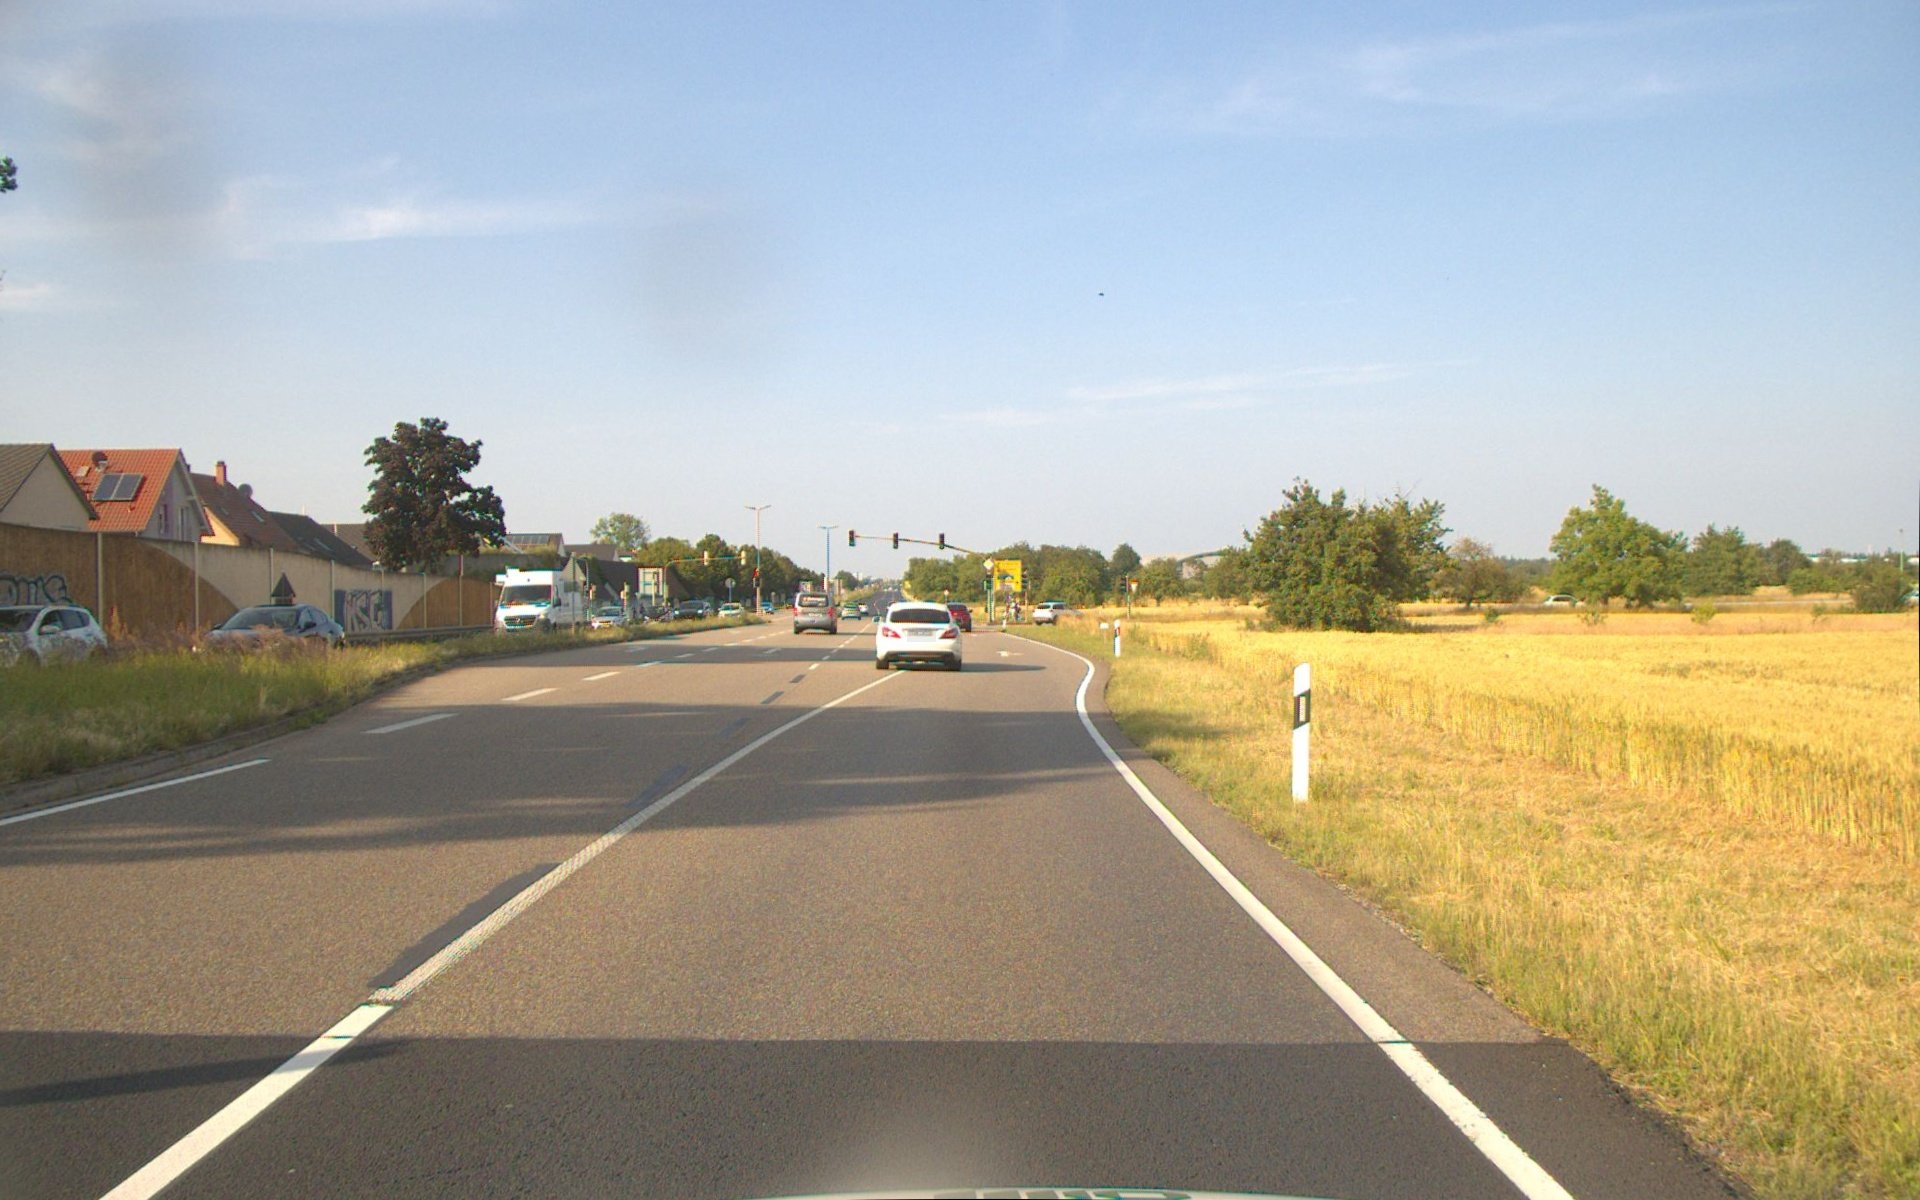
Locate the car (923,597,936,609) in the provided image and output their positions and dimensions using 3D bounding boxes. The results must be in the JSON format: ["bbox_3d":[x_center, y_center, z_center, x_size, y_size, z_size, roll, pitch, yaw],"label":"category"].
[{"bbox_3d":[-3.442,0.314,187.445,1.410,1.306,2.913,1,0,-2],"label":"car"}]

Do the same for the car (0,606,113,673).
[{"bbox_3d":[-17.499,0.692,30.394,1.635,1.124,4.411,1,0,-1],"label":"car"}]

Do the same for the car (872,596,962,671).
[{"bbox_3d":[-0.968,0.690,36.360,1.856,1.535,3.998,0,0,-2],"label":"car"}]

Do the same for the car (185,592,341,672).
[{"bbox_3d":[-13.692,0.598,32.687,1.615,1.467,3.567,1,0,-1],"label":"car"}]

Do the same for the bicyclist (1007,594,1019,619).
[{"bbox_3d":[3.886,0.476,121.149,0.831,1.786,0.798,1,0,-1],"label":"bicyclist"}]

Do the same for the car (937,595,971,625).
[{"bbox_3d":[-0.338,0.500,88.020,1.719,1.543,3.999,-1,0,-2],"label":"car"}]

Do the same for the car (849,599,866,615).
[{"bbox_3d":[-11.326,0.810,182.089,1.741,1.694,3.659,1,0,-6],"label":"car"}]

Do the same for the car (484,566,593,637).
[{"bbox_3d":[-14.868,0.037,58.794,2.301,2.343,7.187,1,0,-3],"label":"car"}]

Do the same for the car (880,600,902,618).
[{"bbox_3d":[-6.673,0.869,159.568,1.804,1.713,3.995,1,0,-6],"label":"car"}]

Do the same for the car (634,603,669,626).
[{"bbox_3d":[-20.996,1.005,112.777,1.676,1.482,3.999,1,0,-1],"label":"car"}]

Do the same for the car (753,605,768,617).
[{"bbox_3d":[-25.404,1.389,210.737,1.749,1.462,4.352,1,0,-5],"label":"car"}]

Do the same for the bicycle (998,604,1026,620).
[{"bbox_3d":[3.792,0.890,121.164,2.052,1.108,0.808,1,0,1],"label":"bicycle"}]

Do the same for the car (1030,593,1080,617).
[{"bbox_3d":[6.665,0.380,115.977,1.821,1.626,3.990,1,0,31],"label":"car"}]

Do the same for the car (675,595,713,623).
[{"bbox_3d":[-16.541,0.529,103.003,1.696,1.653,4.920,1,0,-3],"label":"car"}]

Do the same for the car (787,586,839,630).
[{"bbox_3d":[-6.704,0.327,75.856,1.984,1.925,4.957,1,1,-1],"label":"car"}]

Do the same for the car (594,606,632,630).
[{"bbox_3d":[-19.936,0.997,95.175,1.651,1.308,3.145,1,0,-3],"label":"car"}]

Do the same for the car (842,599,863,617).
[{"bbox_3d":[-9.583,0.692,147.147,1.683,1.518,3.583,1,0,-2],"label":"car"}]

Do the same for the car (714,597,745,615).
[{"bbox_3d":[-17.519,0.437,125.916,1.836,1.344,4.711,1,0,-3],"label":"car"}]
